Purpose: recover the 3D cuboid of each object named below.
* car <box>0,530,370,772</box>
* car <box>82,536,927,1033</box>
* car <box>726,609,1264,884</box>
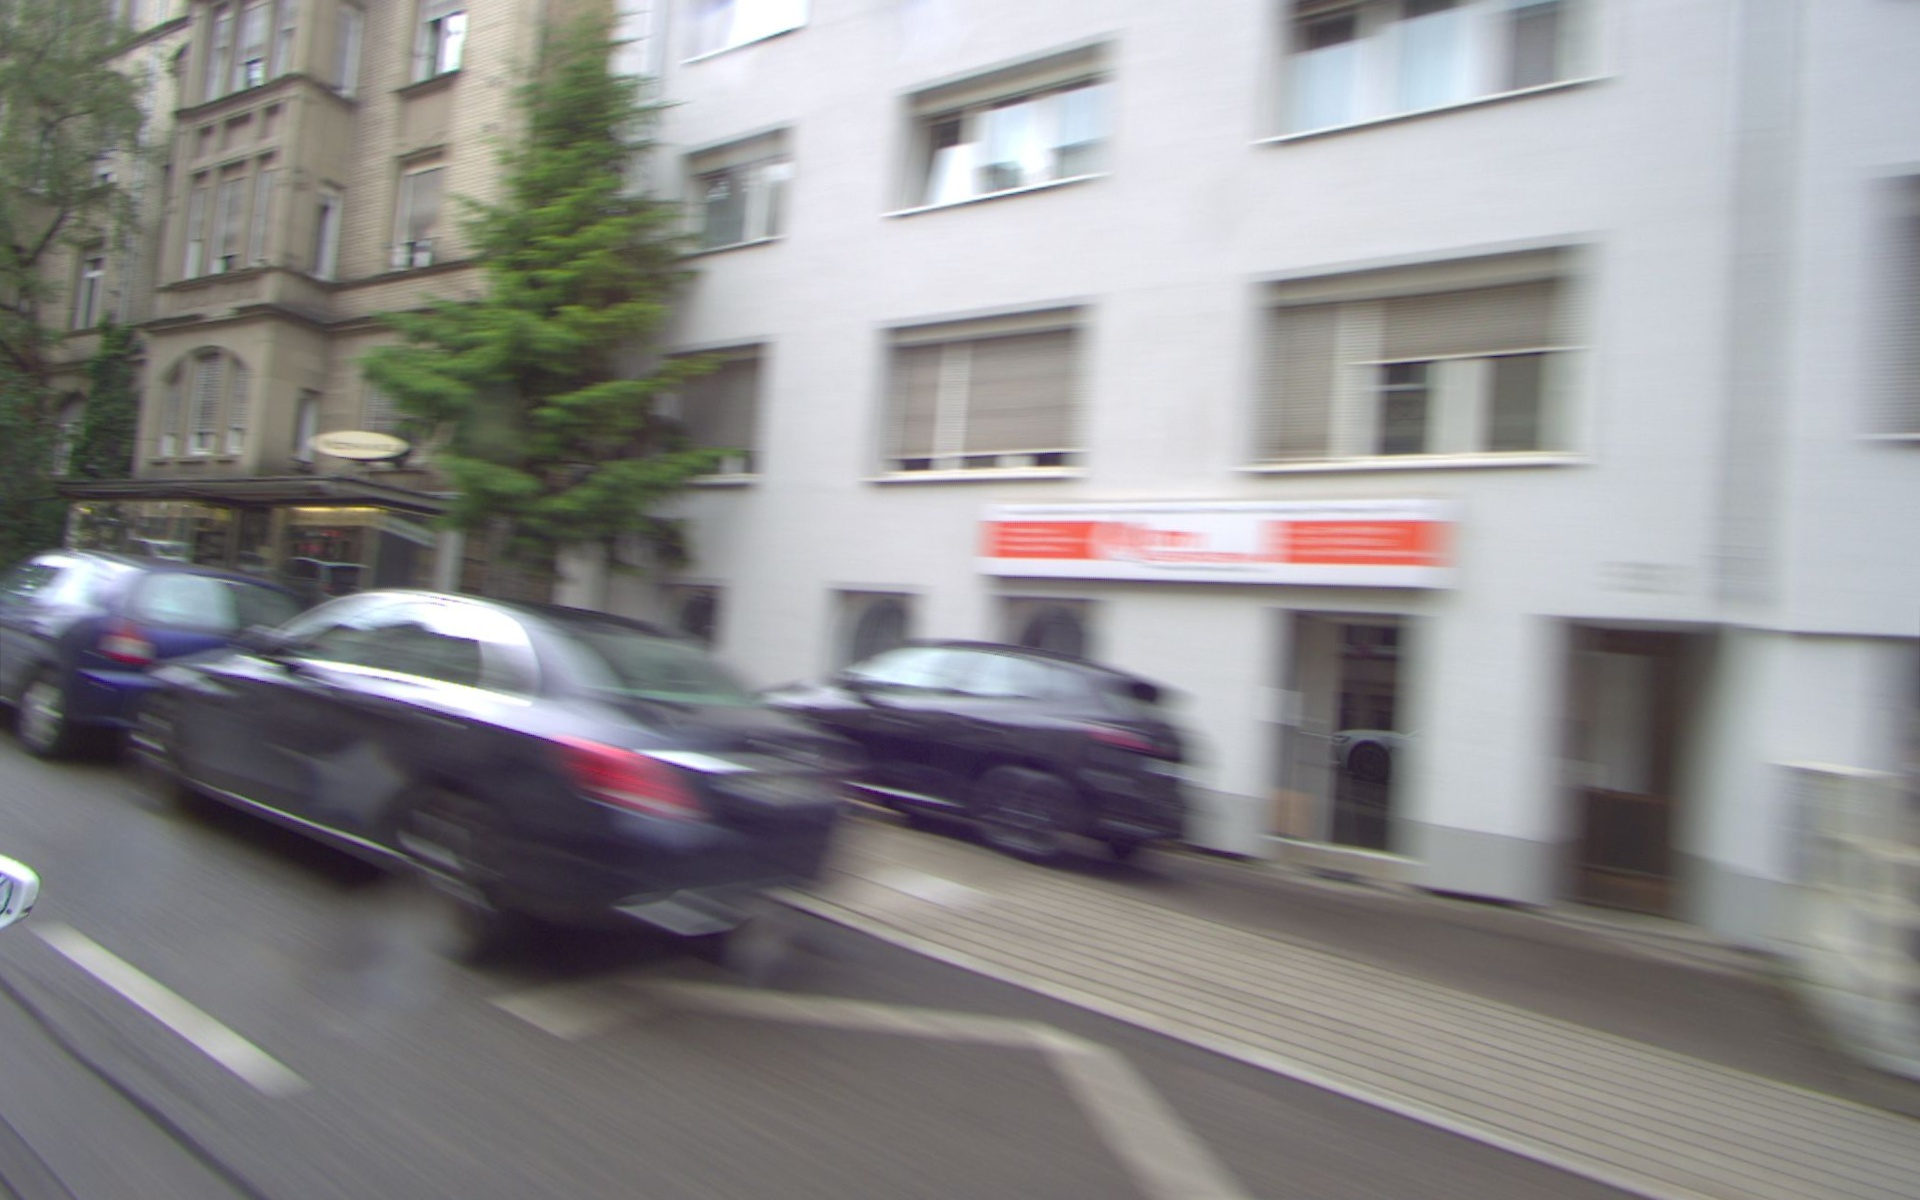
[{"bbox_3d":[-6.512,0.288,7.741,3.818,1.352,1.683,6,-4,32],"label":"car"},{"bbox_3d":[-2.634,0.674,5.446,4.534,1.452,1.799,6,-4,32],"label":"car"},{"bbox_3d":[0.172,1.103,8.492,4.090,1.441,1.816,6,-5,37],"label":"car"}]
